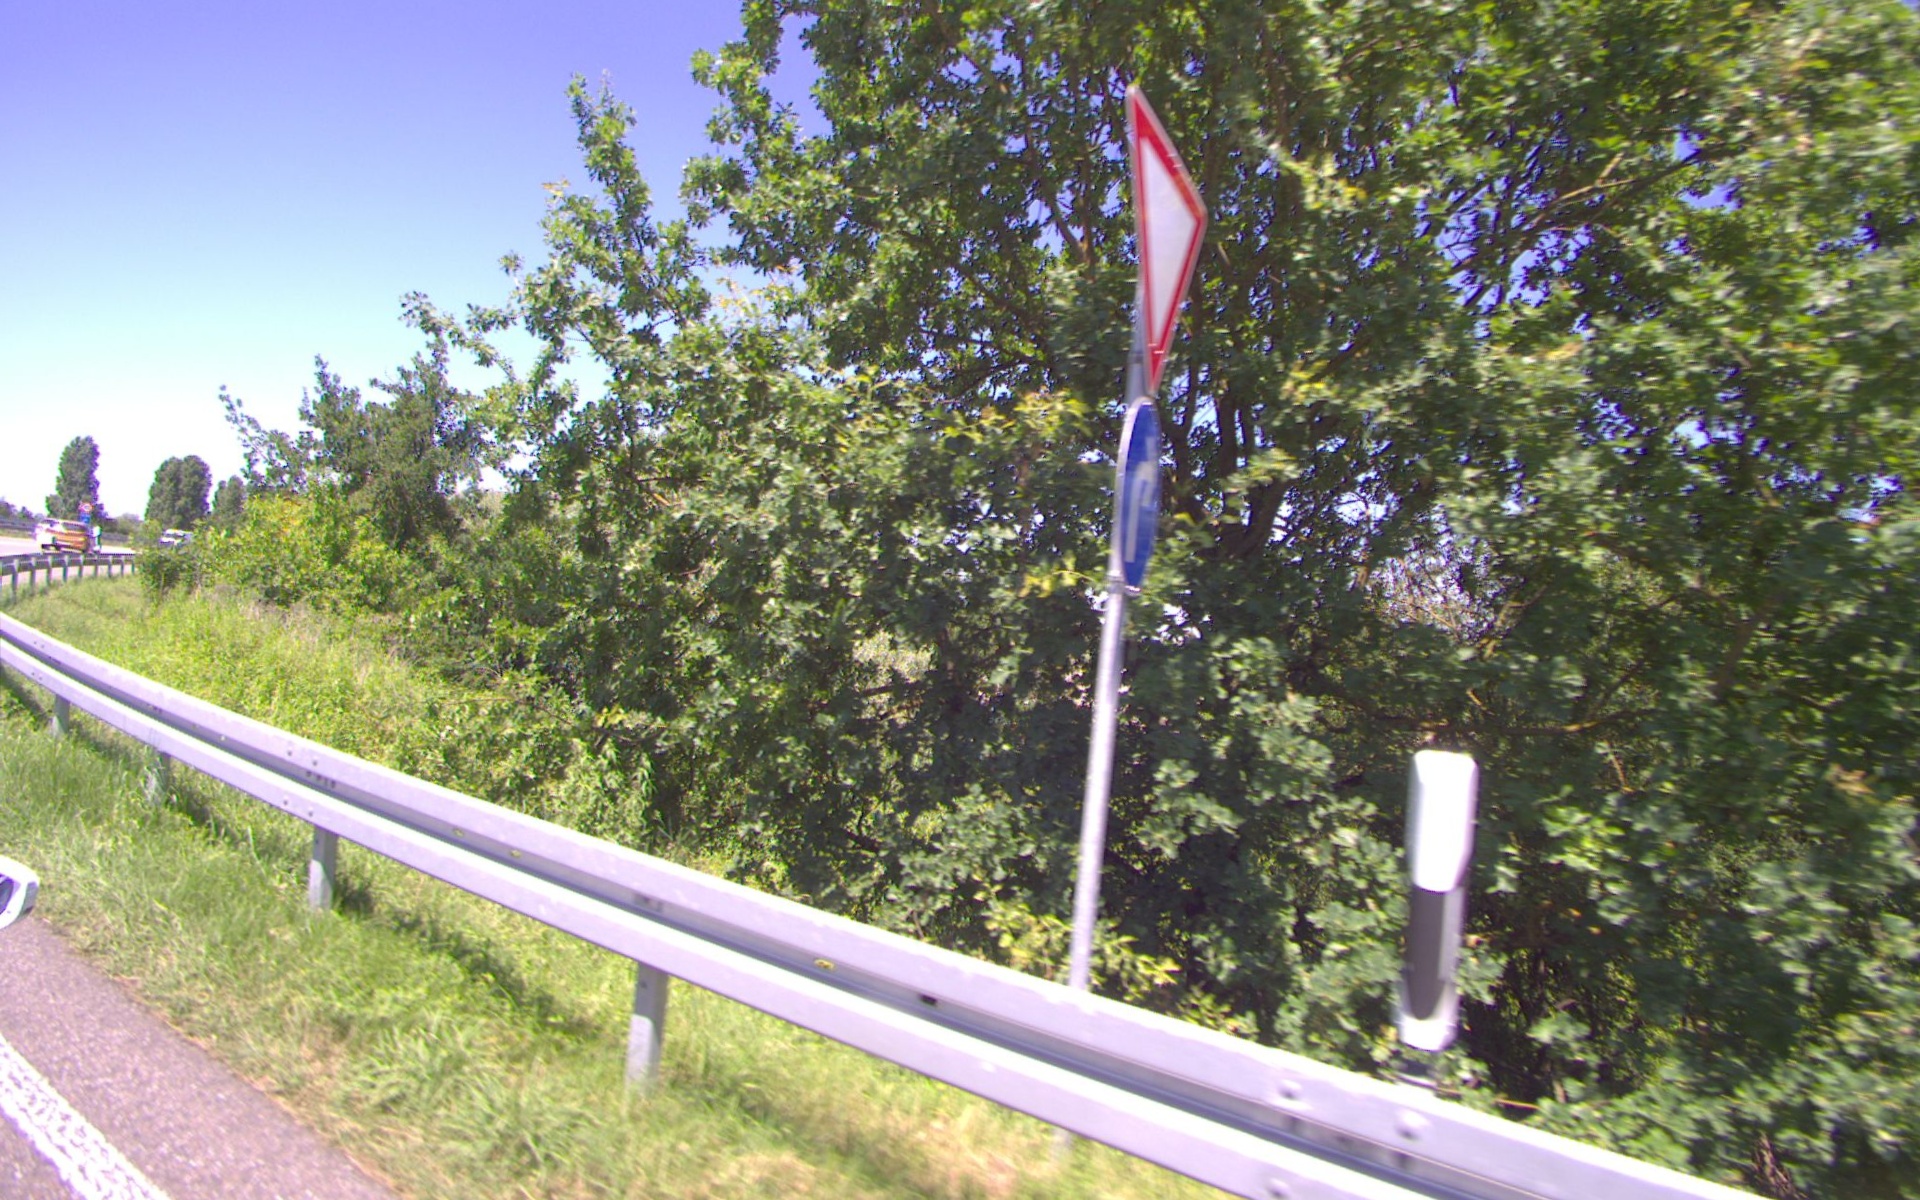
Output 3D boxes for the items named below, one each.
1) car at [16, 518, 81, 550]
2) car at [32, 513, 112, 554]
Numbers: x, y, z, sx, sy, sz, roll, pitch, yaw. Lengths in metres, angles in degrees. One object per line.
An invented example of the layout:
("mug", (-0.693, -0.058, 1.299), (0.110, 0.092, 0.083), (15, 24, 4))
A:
("car", (-54.895, -3.960, 60.665), (1.828, 1.467, 3.973), (10, -3, -28))
("car", (-42.535, -3.154, 48.293), (1.827, 1.480, 3.973), (10, -3, -28))
